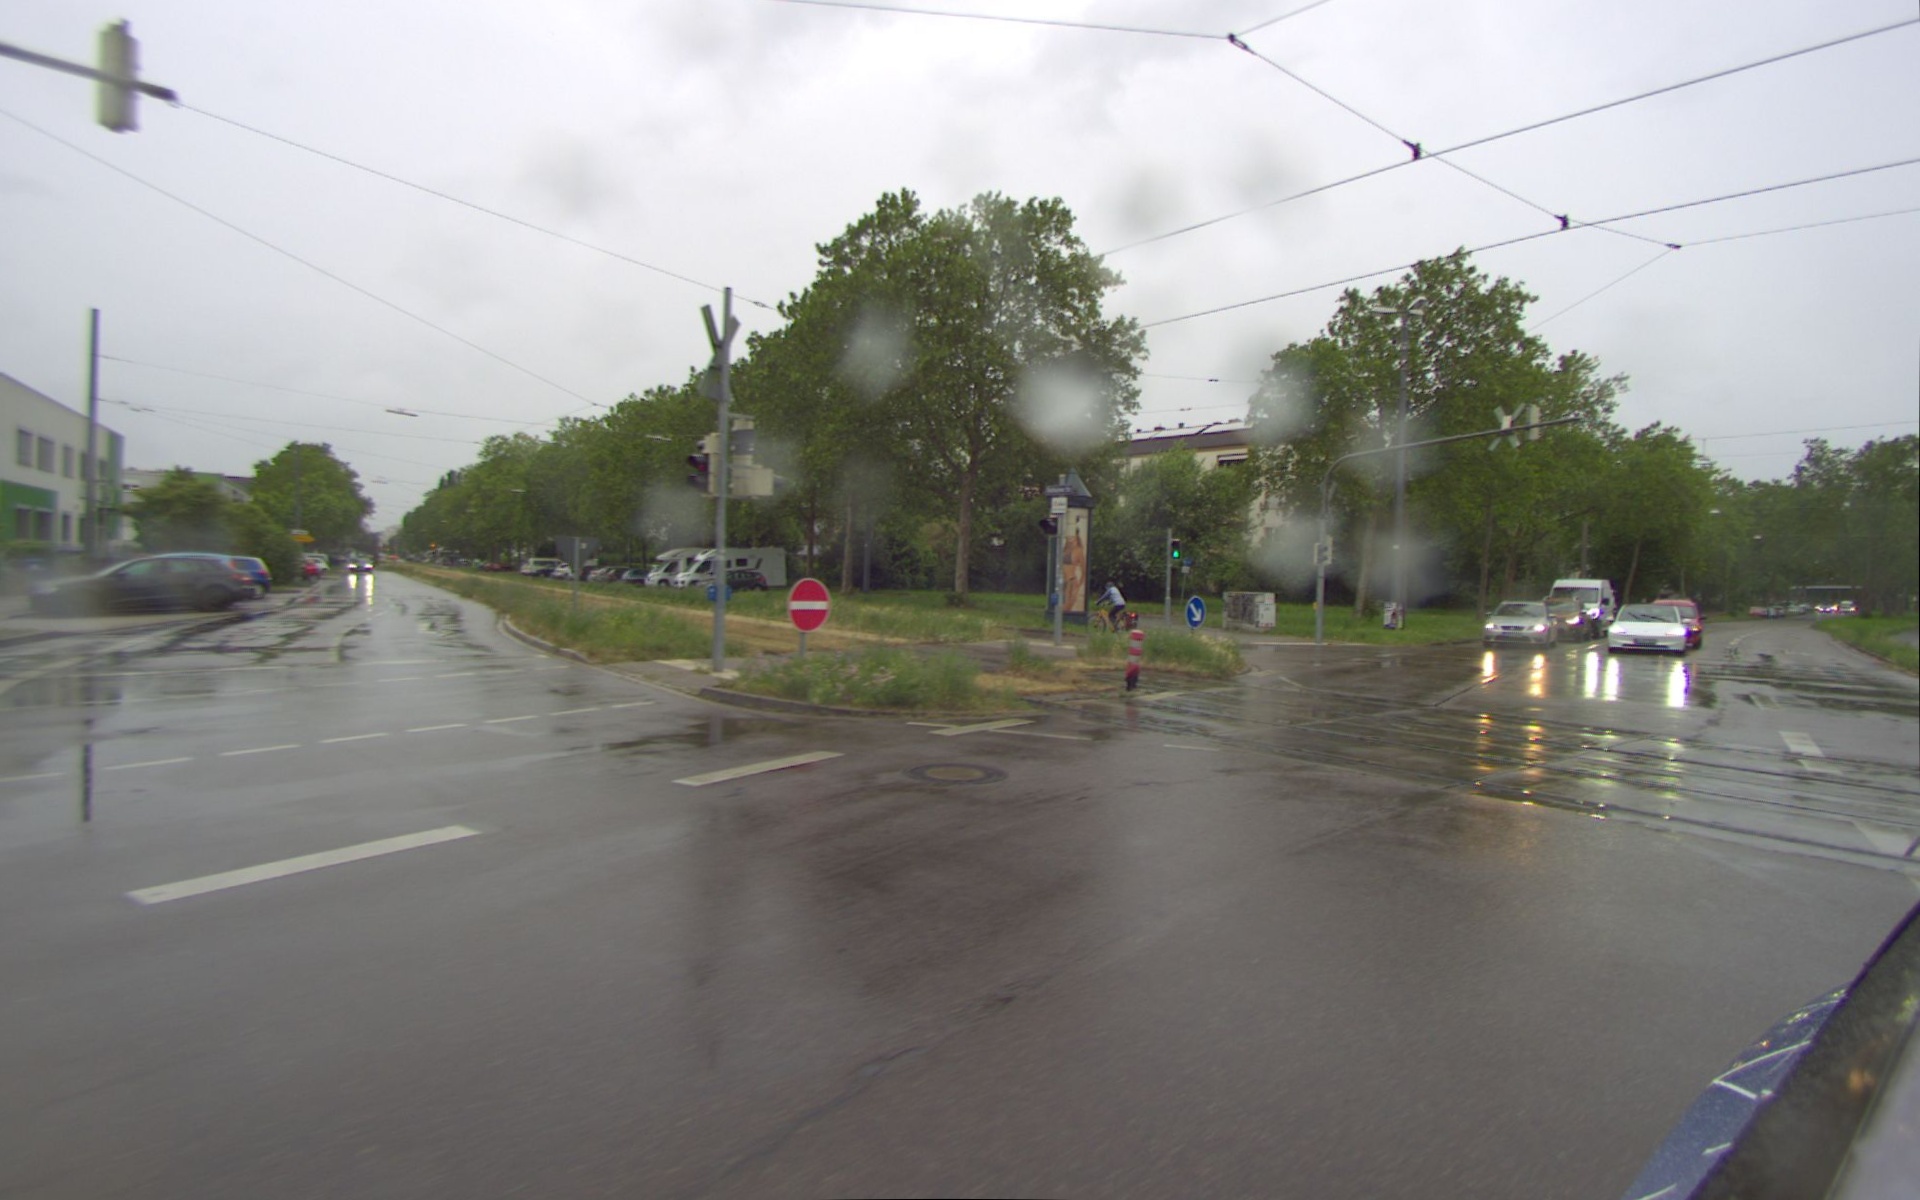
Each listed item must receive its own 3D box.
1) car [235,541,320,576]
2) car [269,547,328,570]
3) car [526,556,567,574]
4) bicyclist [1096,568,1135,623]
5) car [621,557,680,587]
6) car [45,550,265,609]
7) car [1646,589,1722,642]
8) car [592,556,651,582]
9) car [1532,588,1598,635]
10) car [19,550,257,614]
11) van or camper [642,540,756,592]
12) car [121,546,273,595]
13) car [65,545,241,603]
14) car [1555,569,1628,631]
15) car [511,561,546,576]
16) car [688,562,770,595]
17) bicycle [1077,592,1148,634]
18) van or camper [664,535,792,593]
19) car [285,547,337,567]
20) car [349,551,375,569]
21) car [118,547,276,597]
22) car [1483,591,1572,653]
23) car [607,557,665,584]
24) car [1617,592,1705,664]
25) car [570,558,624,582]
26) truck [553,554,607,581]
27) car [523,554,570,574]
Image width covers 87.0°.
[{"bbox_3d":[-41.546,-2.522,61.656,1.993,1.887,3.937,3,0,43],"label":"car"},{"bbox_3d":[-56.406,-3.516,86.364,1.823,1.724,3.743,3,0,32],"label":"car"},{"bbox_3d":[-45.916,-3.888,112.364,3.922,1.805,1.882,2,0,-33],"label":"car"},{"bbox_3d":[4.407,-0.138,28.652,0.840,1.525,0.683,2,0,39],"label":"bicyclist"},{"bbox_3d":[-23.952,-2.165,78.211,4.099,2.039,2.190,2,0,-23],"label":"car"},{"bbox_3d":[-21.599,-0.584,27.282,1.852,1.435,4.442,3,3,43],"label":"car"},{"bbox_3d":[24.764,0.524,34.561,1.783,1.627,4.552,3,0,39],"label":"car"},{"bbox_3d":[-29.514,-2.664,88.119,4.639,2.039,2.435,2,0,-23],"label":"car"},{"bbox_3d":[22.689,0.437,37.894,1.780,1.627,4.016,3,0,35],"label":"car"},{"bbox_3d":[-20.412,-0.492,25.280,1.852,1.435,4.423,3,3,43],"label":"car"},{"bbox_3d":[-18.689,-2.388,72.444,7.296,3.218,3.268,2,0,-26],"label":"van or camper"},{"bbox_3d":[-28.138,-1.066,37.469,1.912,1.661,4.082,2,1,28],"label":"car"},{"bbox_3d":[-23.902,-0.756,30.043,3.933,1.601,1.854,1,2,-44],"label":"car"},{"bbox_3d":[26.882,0.044,42.984,1.990,2.422,5.543,3,0,38],"label":"car"},{"bbox_3d":[-55.374,-4.030,129.784,3.919,1.612,1.701,2,0,-30],"label":"car"},{"bbox_3d":[-13.867,-1.307,60.687,4.367,1.738,2.003,2,0,-27],"label":"car"},{"bbox_3d":[4.310,0.358,28.720,1.876,1.131,0.683,2,0,40],"label":"bicycle"},{"bbox_3d":[-14.740,-2.234,64.322,7.198,3.218,3.266,2,0,-30],"label":"van or camper"},{"bbox_3d":[-65.957,-4.310,102.853,1.994,1.781,3.956,3,0,30],"label":"car"},{"bbox_3d":[-60.010,-3.960,101.610,1.857,1.683,4.008,2,0,-25],"label":"car"},{"bbox_3d":[-26.246,-0.933,34.940,1.915,1.601,3.956,2,1,31],"label":"car"},{"bbox_3d":[17.775,0.670,31.611,1.923,1.712,4.350,3,0,35],"label":"car"},{"bbox_3d":[-26.126,-2.362,81.629,4.222,1.969,1.971,2,0,-23],"label":"car"},{"bbox_3d":[20.494,0.793,29.585,1.923,1.851,4.549,3,0,35],"label":"car"},{"bbox_3d":[-34.990,-2.850,97.500,4.639,2.039,2.435,2,0,-25],"label":"car"},{"bbox_3d":[-37.468,-3.219,99.899,4.641,2.367,2.434,2,0,-28],"label":"truck"},{"bbox_3d":[-47.049,-4.098,115.130,4.559,2.039,2.045,2,0,-33],"label":"car"}]
